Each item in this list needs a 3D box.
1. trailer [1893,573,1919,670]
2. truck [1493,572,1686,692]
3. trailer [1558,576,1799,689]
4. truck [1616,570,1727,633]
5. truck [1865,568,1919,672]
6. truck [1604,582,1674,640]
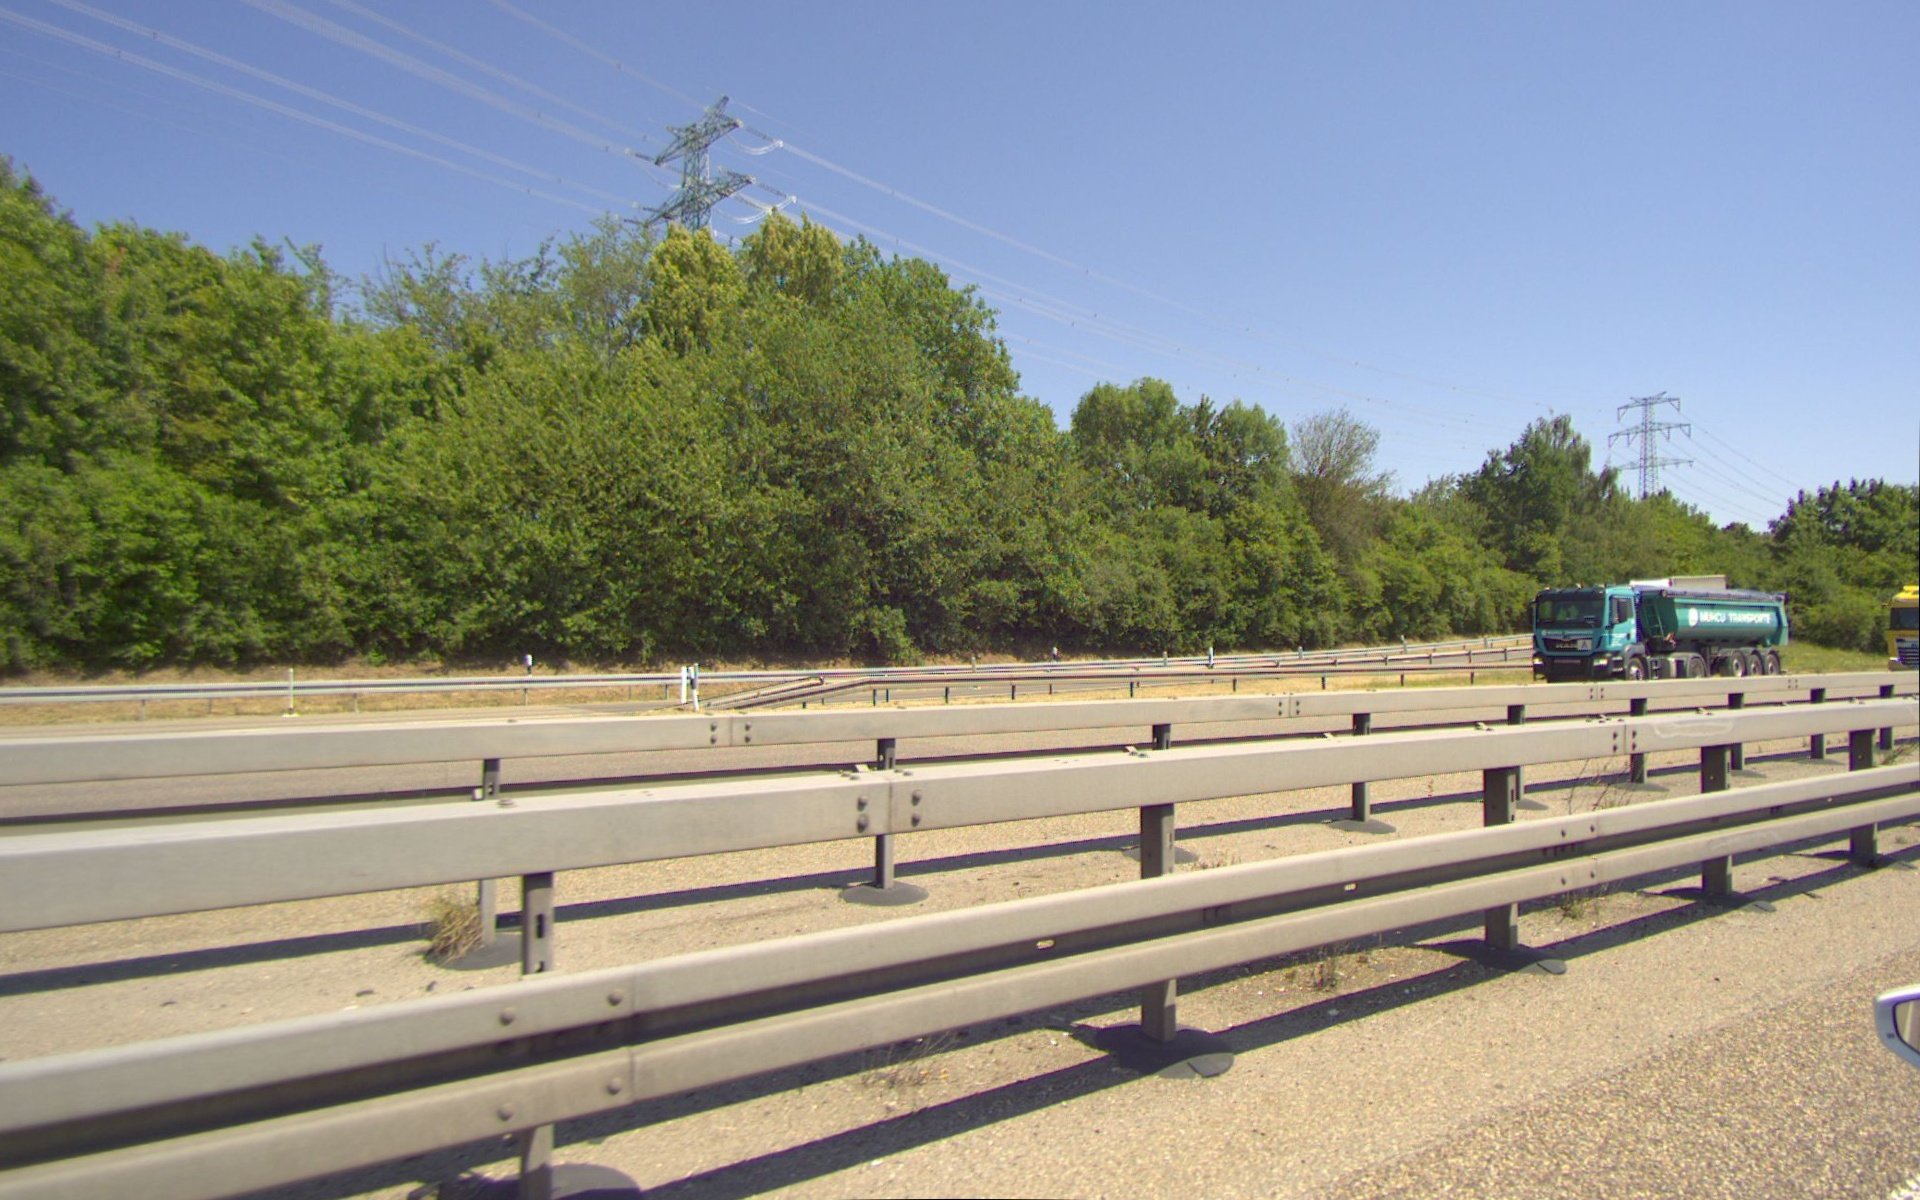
[{"bbox_3d":[49.523,1.066,48.489,13.659,4.398,3.158,1,-2,-32],"label":"trailer"},{"bbox_3d":[19.166,0.970,30.581,5.268,3.344,2.900,1,-2,-30],"label":"truck"},{"bbox_3d":[24.120,1.077,33.522,9.597,3.344,2.900,1,-2,-31],"label":"trailer"},{"bbox_3d":[53.931,0.024,75.892,14.418,4.399,2.972,-1,0,-39],"label":"truck"},{"bbox_3d":[42.253,0.887,43.903,3.474,4.398,3.158,1,-2,-32],"label":"truck"},{"bbox_3d":[48.177,0.748,71.233,4.286,3.947,2.921,-1,0,-39],"label":"truck"}]
